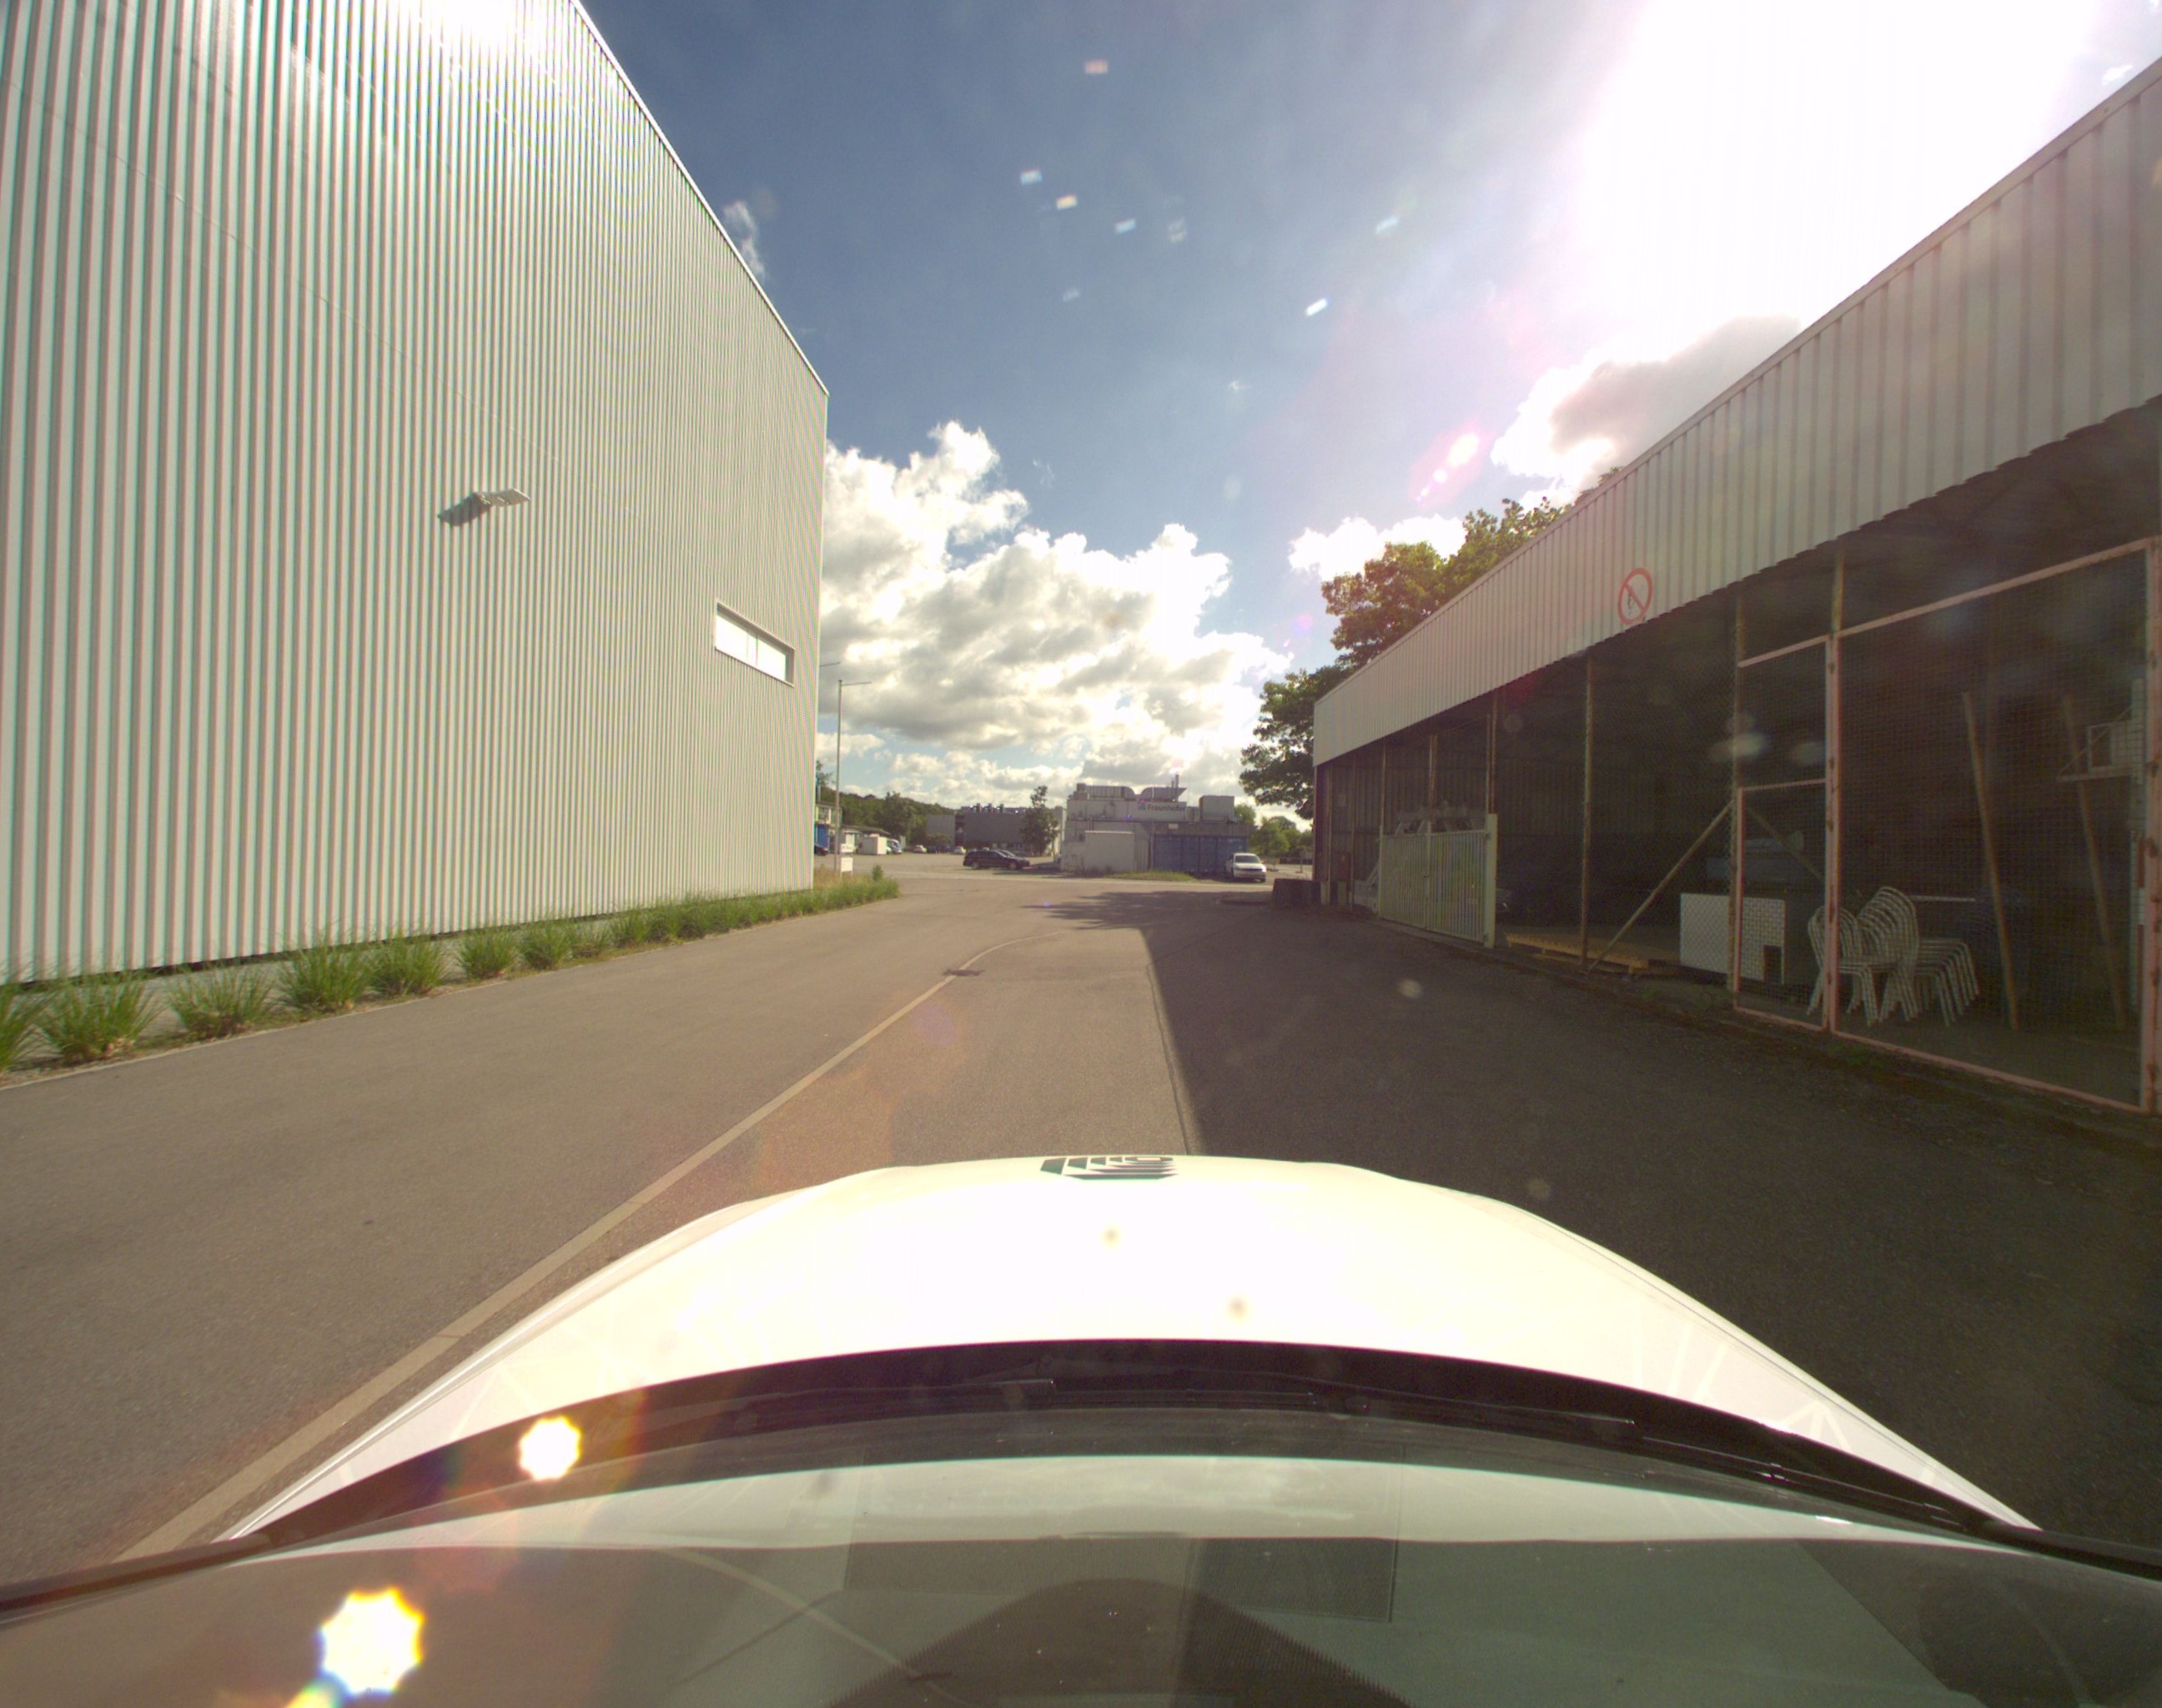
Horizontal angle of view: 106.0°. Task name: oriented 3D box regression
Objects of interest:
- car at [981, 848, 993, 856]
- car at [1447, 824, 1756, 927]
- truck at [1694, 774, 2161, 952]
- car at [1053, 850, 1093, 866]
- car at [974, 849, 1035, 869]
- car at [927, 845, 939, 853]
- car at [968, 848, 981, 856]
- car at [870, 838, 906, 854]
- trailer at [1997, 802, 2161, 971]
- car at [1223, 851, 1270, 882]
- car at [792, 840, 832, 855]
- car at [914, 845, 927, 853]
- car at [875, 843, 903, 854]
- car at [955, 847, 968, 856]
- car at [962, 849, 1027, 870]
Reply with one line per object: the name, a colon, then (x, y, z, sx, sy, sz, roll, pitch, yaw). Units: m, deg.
car: (-18.318, -0.418, 158.339, 1.871, 1.537, 4.035, 0, 0, 0)
car: (10.775, 0.443, 17.155, 5.153, 1.918, 2.276, 1, 0, -3)
truck: (14.077, 0.131, 13.819, 5.544, 2.706, 2.367, 1, 0, 2)
car: (-0.839, 0.441, 88.418, 4.262, 1.569, 1.988, 1, -2, 2)
car: (-6.019, 0.424, 64.070, 4.511, 1.443, 1.905, 1, -2, 2)
car: (-28.753, -0.912, 158.361, 1.873, 1.537, 4.032, 0, 0, -2)
car: (-20.646, -0.406, 158.192, 1.871, 1.537, 4.035, 0, 0, 0)
car: (-31.975, -1.349, 135.042, 5.231, 2.442, 2.053, 2, 0, 6)
trailer: (15.428, 0.429, 10.950, 3.388, 2.138, 2.467, 1, 0, 4)
car: (9.631, 0.713, 47.689, 1.973, 1.593, 4.343, 2, 1, 2)
car: (-32.509, -0.771, 98.635, 4.148, 1.666, 1.784, 3, 0, 0)
car: (-31.191, -0.964, 158.558, 1.842, 1.668, 4.130, 0, 0, -2)
car: (-31.145, -0.876, 132.069, 4.089, 1.630, 1.811, 2, 0, 6)
car: (-23.195, -0.468, 158.426, 1.871, 1.689, 4.035, 0, 0, 0)
car: (-6.406, 0.425, 60.820, 4.511, 1.443, 1.988, 1, -2, 2)
